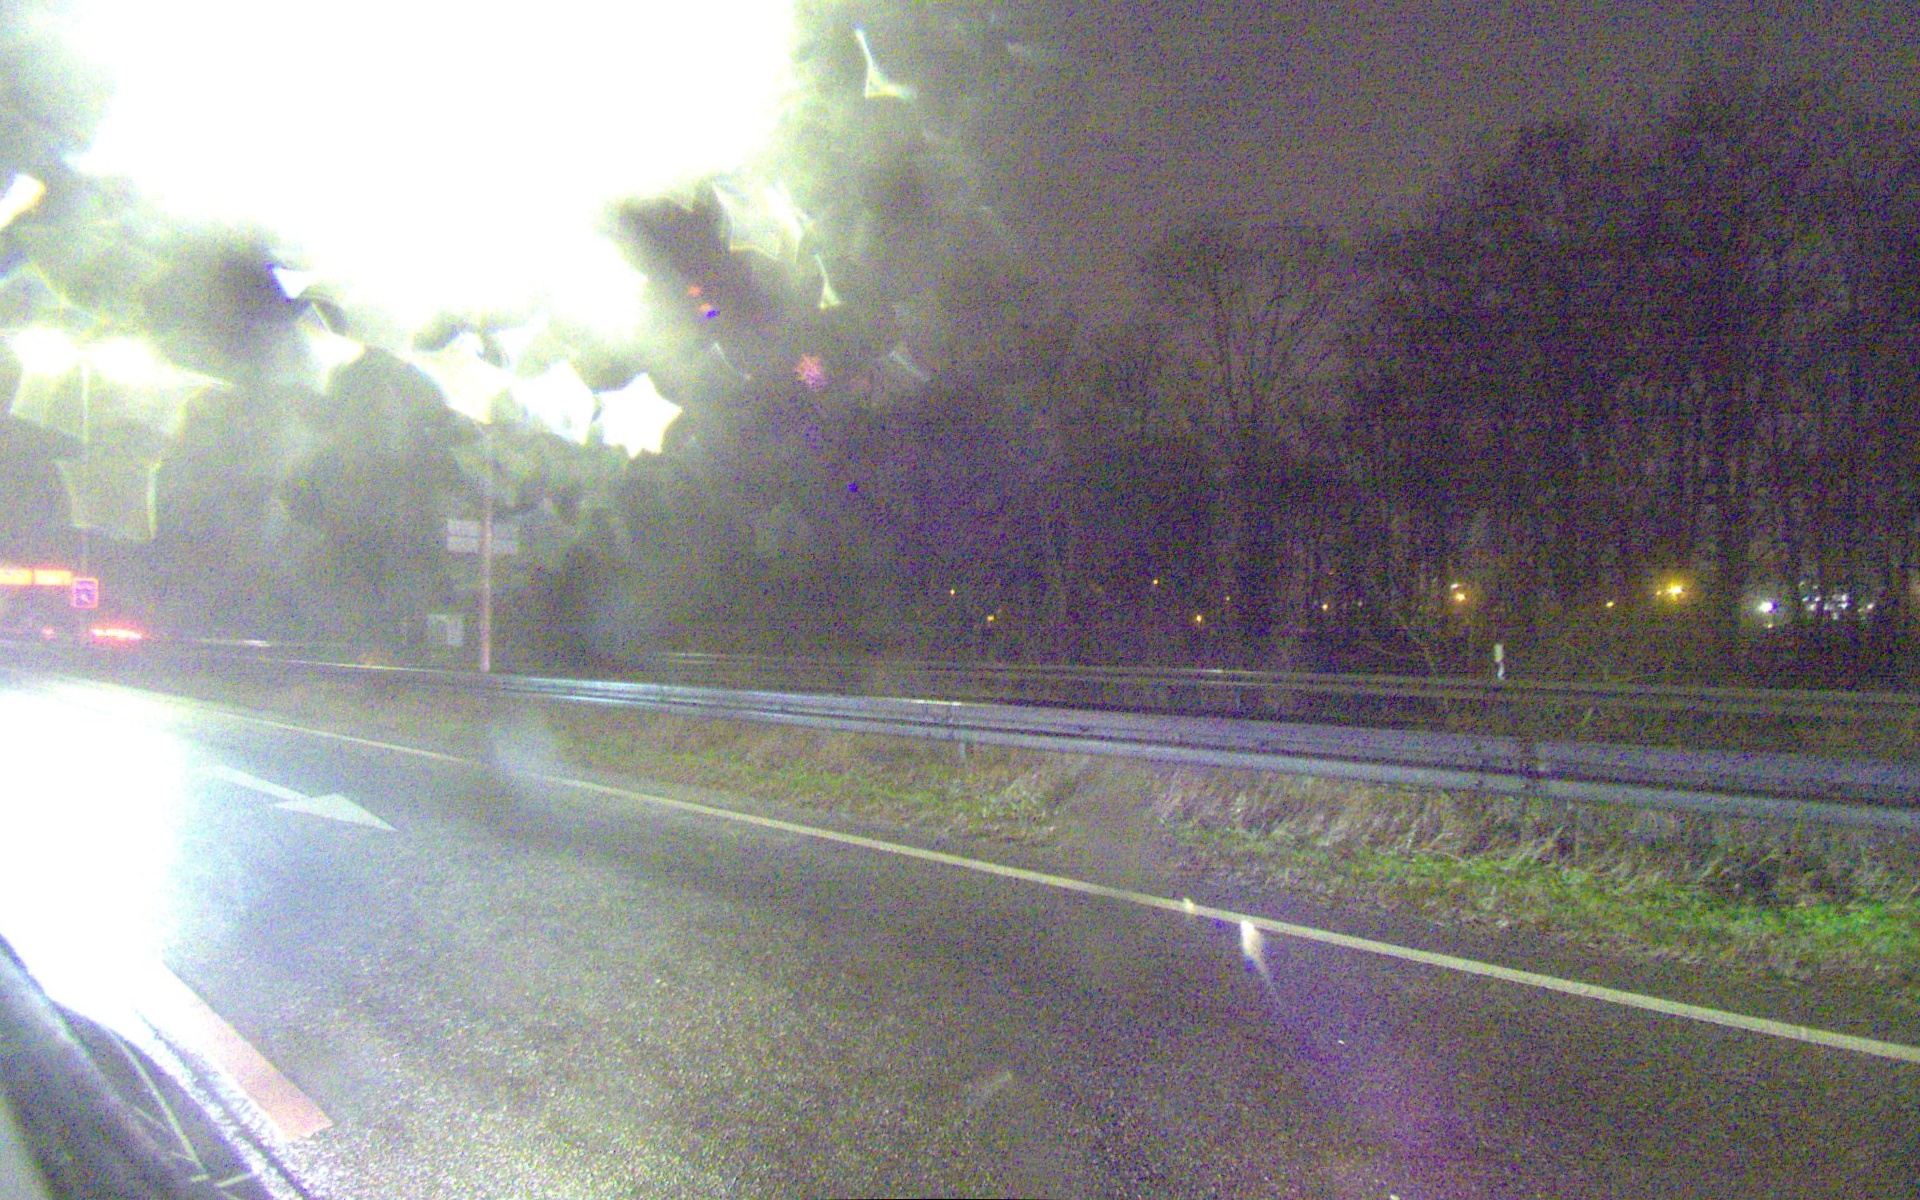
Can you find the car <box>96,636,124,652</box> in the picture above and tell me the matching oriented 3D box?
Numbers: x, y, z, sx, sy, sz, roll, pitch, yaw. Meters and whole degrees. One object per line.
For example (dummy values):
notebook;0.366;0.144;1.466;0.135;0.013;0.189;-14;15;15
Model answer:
car;-92.835;4.772;110.510;4.000;1.660;1.841;-2;-1;43
